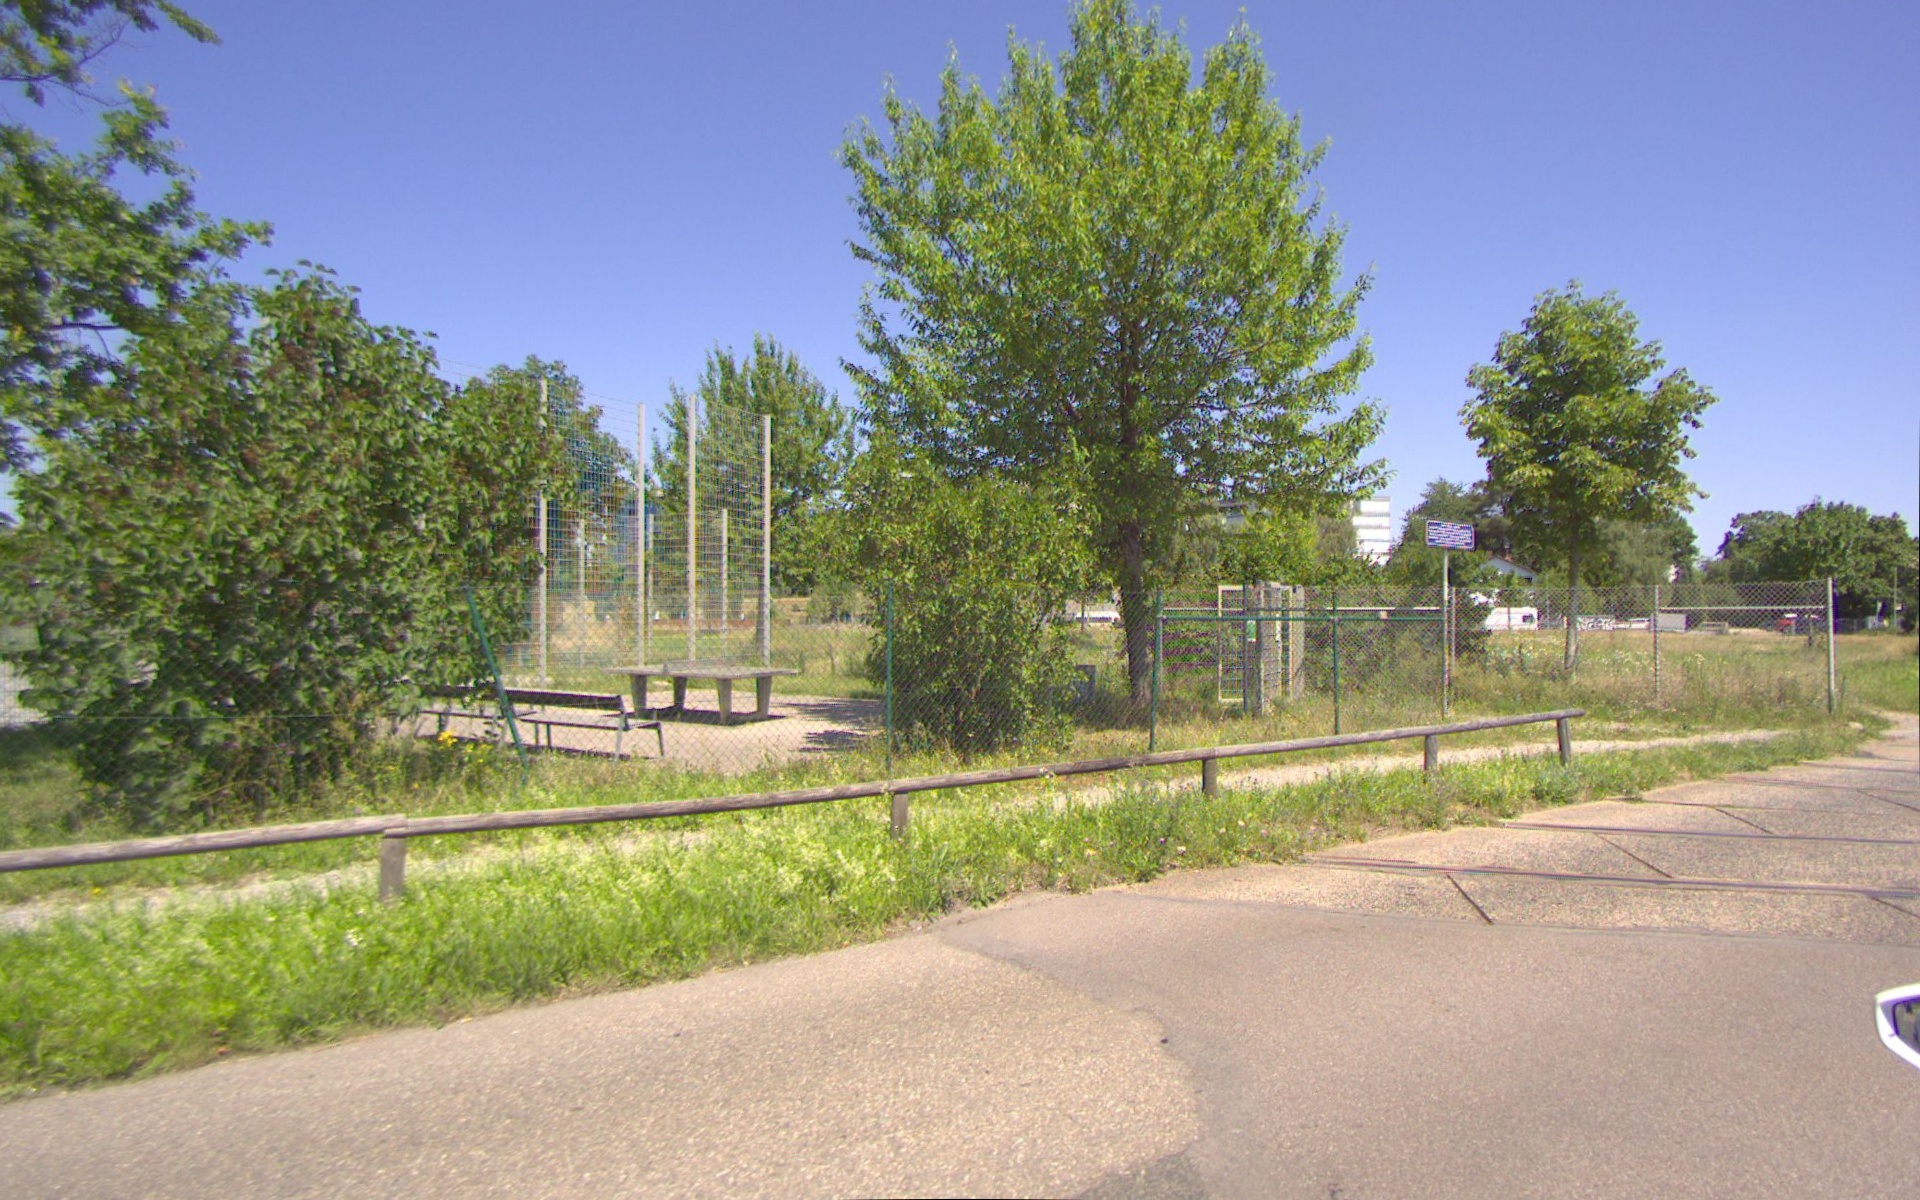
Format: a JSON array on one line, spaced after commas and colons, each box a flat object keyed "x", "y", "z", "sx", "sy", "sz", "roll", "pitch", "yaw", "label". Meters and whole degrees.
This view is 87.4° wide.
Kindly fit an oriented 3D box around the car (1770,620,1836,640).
[{"x": 81.562, "y": 2.924, "z": 97.276, "sx": 4.760, "sy": 1.864, "sz": 1.993, "roll": -1, "pitch": -2, "yaw": 36, "label": "car"}]

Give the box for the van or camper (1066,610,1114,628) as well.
[{"x": 14.584, "y": 2.128, "z": 112.708, "sx": 4.965, "sy": 1.905, "sz": 2.356, "roll": -1, "pitch": -1, "yaw": 26, "label": "van or camper"}]

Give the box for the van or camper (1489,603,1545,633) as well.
[{"x": 51.768, "y": 1.682, "z": 93.421, "sx": 4.386, "sy": 2.625, "sz": 2.488, "roll": 2, "pitch": 0, "yaw": 29, "label": "van or camper"}]

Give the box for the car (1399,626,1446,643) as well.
[{"x": 44.788, "y": 3.354, "z": 97.328, "sx": 3.930, "sy": 1.572, "sz": 1.911, "roll": -1, "pitch": -1, "yaw": 32, "label": "car"}]

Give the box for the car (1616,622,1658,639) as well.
[{"x": 65.613, "y": 2.938, "z": 97.398, "sx": 3.286, "sy": 1.598, "sz": 1.769, "roll": -1, "pitch": -1, "yaw": 31, "label": "car"}]

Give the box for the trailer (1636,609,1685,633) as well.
[{"x": 61.546, "y": 1.853, "z": 88.308, "sx": 3.364, "sy": 2.072, "sz": 1.757, "roll": -1, "pitch": -1, "yaw": 29, "label": "trailer"}]
